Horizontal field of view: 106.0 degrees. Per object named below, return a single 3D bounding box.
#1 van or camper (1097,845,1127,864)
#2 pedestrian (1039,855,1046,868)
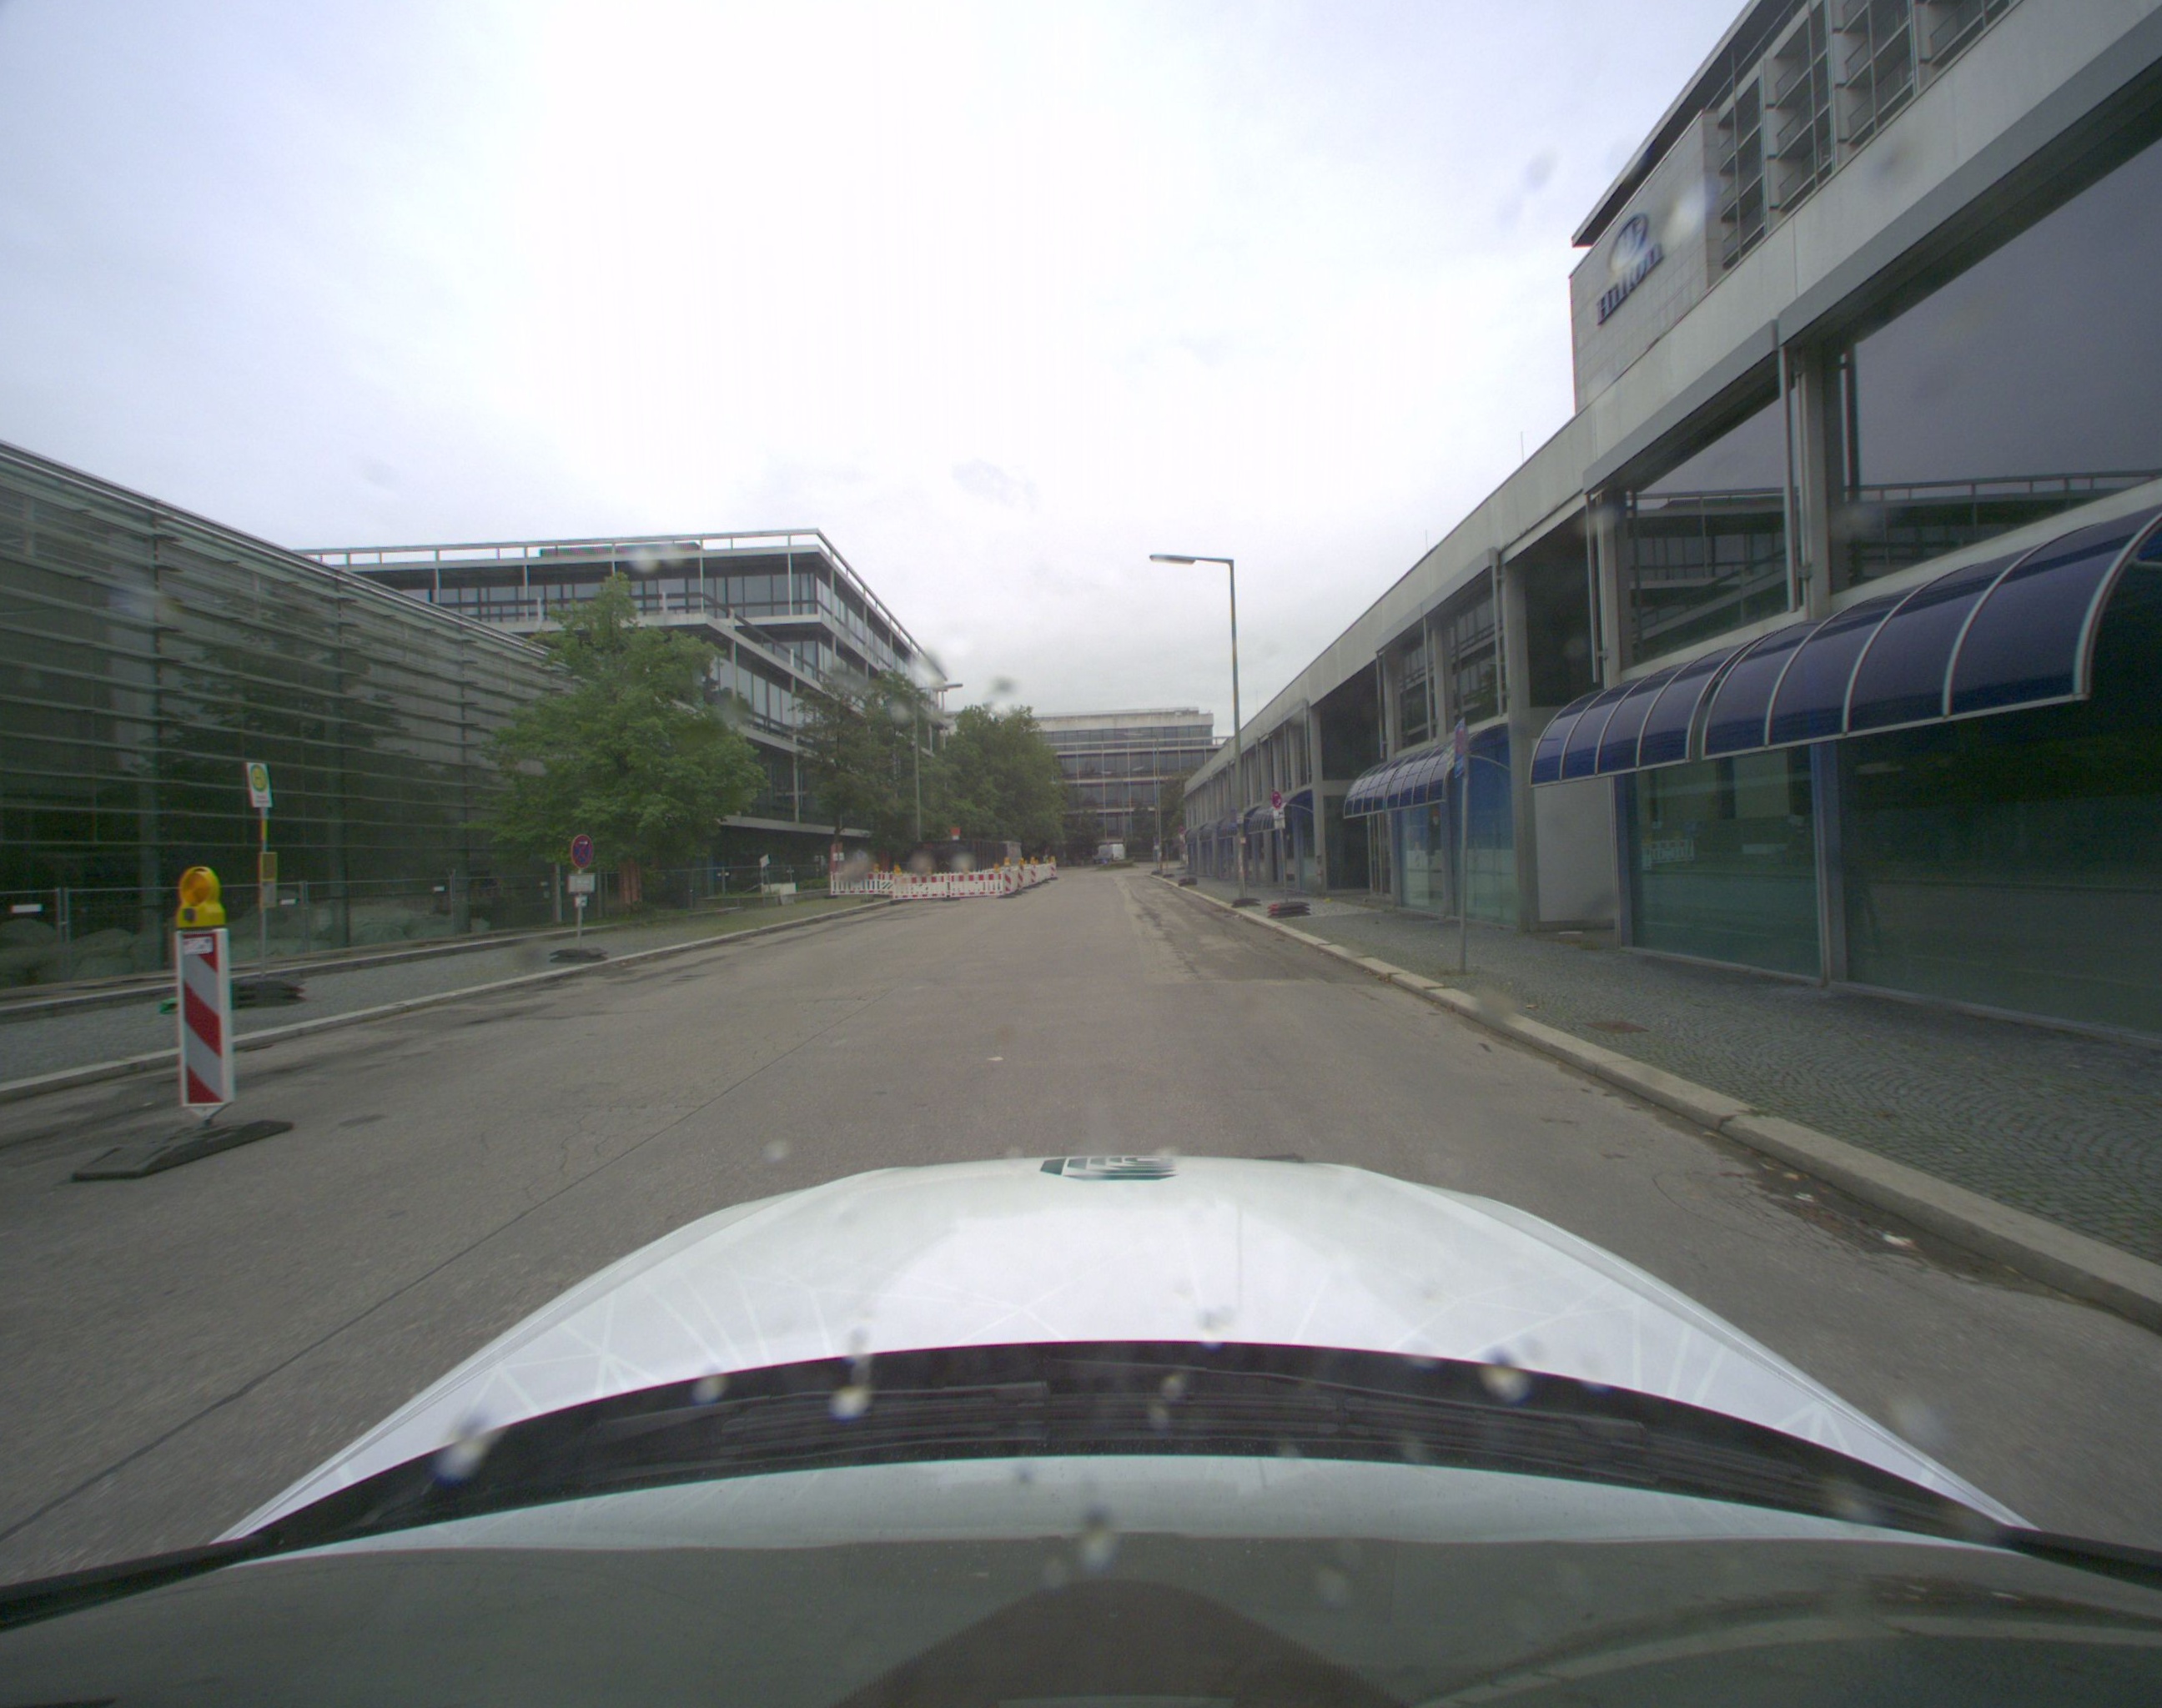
[{"bbox_3d":[4.175,0.058,110.665,2.095,2.492,5.027,-2,0,-24],"label":"van or camper"},{"bbox_3d":[-5.134,0.966,109.425,0.743,1.677,0.678,-2,0,-18],"label":"pedestrian"}]
